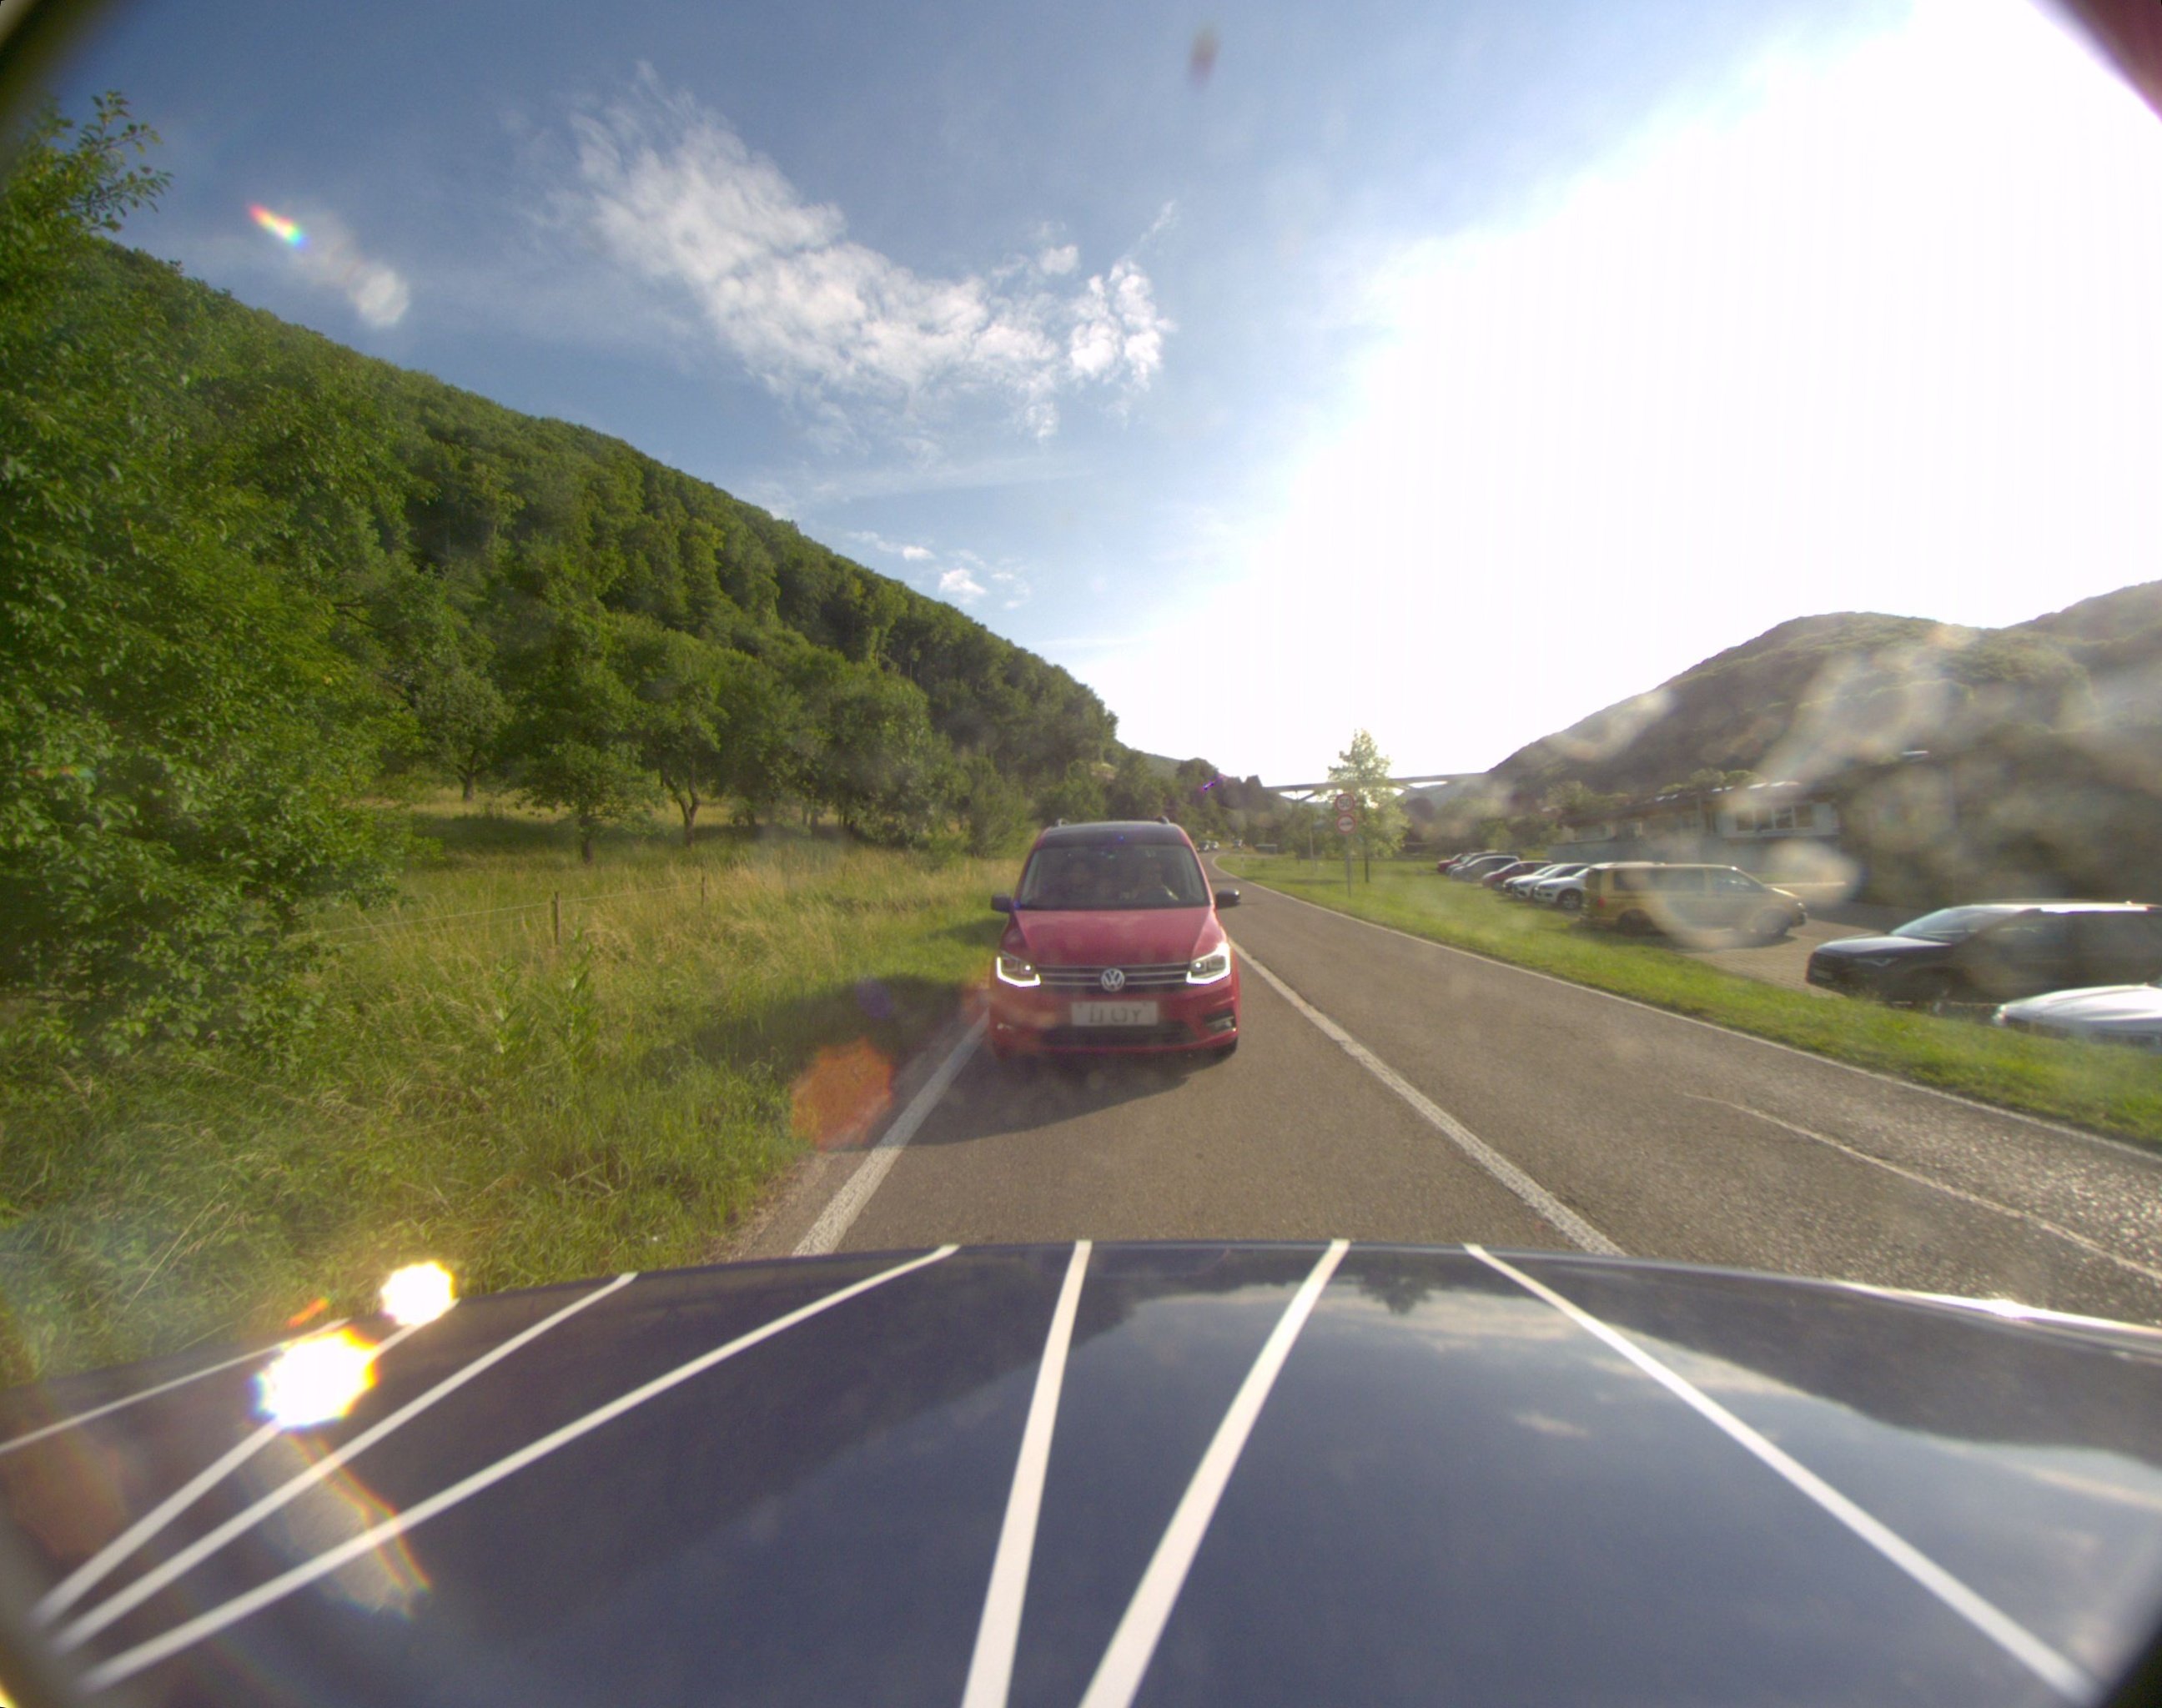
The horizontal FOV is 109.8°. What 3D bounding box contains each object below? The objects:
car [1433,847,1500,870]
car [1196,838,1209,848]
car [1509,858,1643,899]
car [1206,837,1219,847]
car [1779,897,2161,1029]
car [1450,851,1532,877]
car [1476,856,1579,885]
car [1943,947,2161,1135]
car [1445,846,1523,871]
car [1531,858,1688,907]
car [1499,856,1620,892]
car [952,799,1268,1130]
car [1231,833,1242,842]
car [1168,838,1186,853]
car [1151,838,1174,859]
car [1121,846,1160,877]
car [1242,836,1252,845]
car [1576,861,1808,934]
[{"bbox_3d":[30.080,0.371,59.363,4.437,1.710,2.003,-1,1,20],"label":"car"},{"bbox_3d":[19.594,-1.735,122.031,1.677,1.637,3.350,-2,0,15],"label":"car"},{"bbox_3d":[20.847,1.009,32.234,4.436,1.577,2.003,-1,1,21],"label":"car"},{"bbox_3d":[23.431,-2.178,135.322,1.996,1.707,4.004,-2,0,15],"label":"car"},{"bbox_3d":[13.747,1.584,11.473,4.289,1.628,1.915,-2,0,16],"label":"car"},{"bbox_3d":[26.802,0.637,49.793,4.437,1.573,2.003,-2,0,20],"label":"car"},{"bbox_3d":[23.509,0.860,40.211,4.436,1.443,2.003,-1,1,21],"label":"car"},{"bbox_3d":[12.156,1.834,7.414,4.645,1.488,1.915,-1,1,17],"label":"car"},{"bbox_3d":[28.688,0.331,54.215,4.665,1.753,2.003,-1,1,20],"label":"car"},{"bbox_3d":[19.905,1.043,28.854,4.544,1.691,2.003,-1,1,21],"label":"car"},{"bbox_3d":[22.119,0.928,35.363,4.437,1.574,2.003,-1,1,19],"label":"car"},{"bbox_3d":[0.234,0.631,6.514,1.746,1.849,4.348,-2,0,2],"label":"car"},{"bbox_3d":[33.639,-3.537,164.275,1.909,1.893,4.004,-1,2,19],"label":"car"},{"bbox_3d":[11.616,-1.033,91.414,1.797,1.725,4.287,-2,0,11],"label":"car"},{"bbox_3d":[7.191,-0.474,66.668,1.912,1.675,4.002,-1,0,7],"label":"car"},{"bbox_3d":[3.014,0.348,39.402,1.798,1.464,4.283,-2,0,2],"label":"car"},{"bbox_3d":[38.540,-3.214,176.159,1.909,1.893,4.004,-2,2,17],"label":"car"},{"bbox_3d":[16.743,1.148,21.150,4.652,1.802,2.003,-1,1,21],"label":"car"}]
